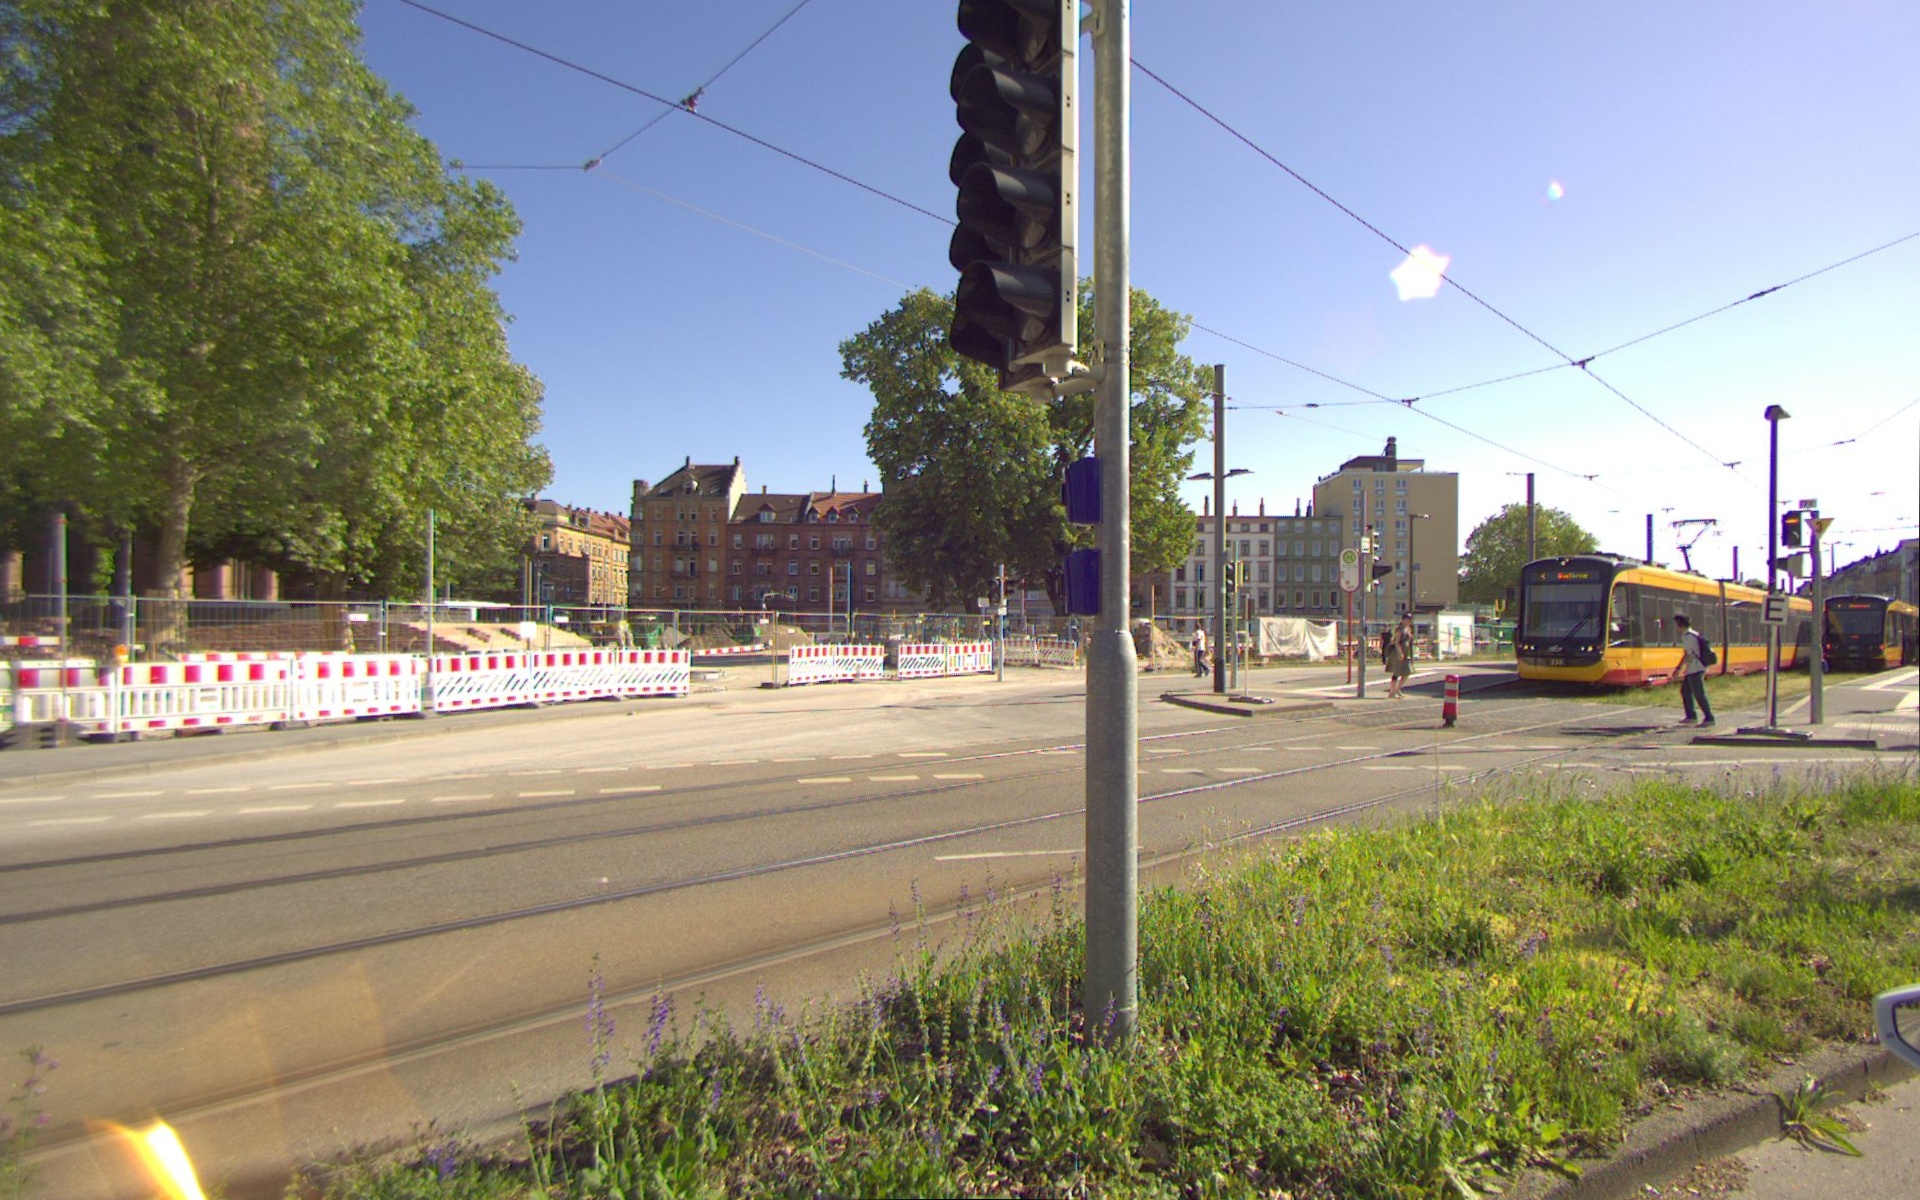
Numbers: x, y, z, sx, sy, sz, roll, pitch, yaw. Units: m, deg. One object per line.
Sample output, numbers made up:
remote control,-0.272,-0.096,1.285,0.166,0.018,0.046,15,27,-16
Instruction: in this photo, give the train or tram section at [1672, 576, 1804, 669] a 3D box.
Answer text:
train or tram section,33.491,0.994,42.997,11.132,3.554,2.790,2,-1,-43

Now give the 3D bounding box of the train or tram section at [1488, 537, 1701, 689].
train or tram section,18.068,0.463,28.156,10.411,3.554,2.789,2,-2,-45

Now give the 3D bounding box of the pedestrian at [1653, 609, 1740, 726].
pedestrian,12.177,1.115,16.613,0.756,1.856,1.006,3,-4,-45

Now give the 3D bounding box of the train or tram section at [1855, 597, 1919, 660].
train or tram section,57.357,1.743,61.672,10.472,3.554,2.843,2,-1,-44

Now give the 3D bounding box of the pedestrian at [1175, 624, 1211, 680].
pedestrian,7.625,1.684,32.849,0.955,1.791,0.864,0,-2,26

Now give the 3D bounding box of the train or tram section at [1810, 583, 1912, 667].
train or tram section,42.341,1.199,47.052,10.472,3.554,2.843,2,-2,-44

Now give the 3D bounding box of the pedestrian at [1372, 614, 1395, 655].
pedestrian,18.704,1.517,44.371,0.795,1.791,0.661,2,-2,-45

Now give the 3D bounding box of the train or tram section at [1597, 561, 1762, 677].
train or tram section,25.656,0.706,35.508,10.537,3.554,2.790,2,-1,-43

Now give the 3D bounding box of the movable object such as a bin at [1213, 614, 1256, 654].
movable object such as a bin,20.653,2.523,75.702,1.798,2.833,3.997,2,-1,-5

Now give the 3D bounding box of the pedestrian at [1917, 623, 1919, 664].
pedestrian,45.193,2.050,46.809,0.756,1.908,0.838,3,-1,-45

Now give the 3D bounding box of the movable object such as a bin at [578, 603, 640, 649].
movable object such as a bin,-26.431,1.964,75.903,3.060,3.214,5.244,2,-1,-5

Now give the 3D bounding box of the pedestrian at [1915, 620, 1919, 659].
pedestrian,47.924,1.974,49.864,0.697,1.881,0.668,3,-1,-38

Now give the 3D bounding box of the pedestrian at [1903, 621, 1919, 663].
pedestrian,44.016,1.933,46.219,0.756,1.908,0.838,3,-1,-45

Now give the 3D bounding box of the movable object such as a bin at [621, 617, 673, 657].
movable object such as a bin,-20.068,2.337,64.546,1.857,2.377,4.230,2,-1,0

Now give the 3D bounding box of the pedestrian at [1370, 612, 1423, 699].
pedestrian,9.735,1.219,22.394,0.888,1.875,0.760,-1,1,39

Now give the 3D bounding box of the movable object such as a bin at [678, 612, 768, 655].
movable object such as a bin,-16.968,2.412,72.198,5.968,2.795,1.894,2,-1,-3

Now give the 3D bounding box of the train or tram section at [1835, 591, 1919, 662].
train or tram section,49.816,1.457,54.362,10.472,3.554,2.843,2,-2,-44

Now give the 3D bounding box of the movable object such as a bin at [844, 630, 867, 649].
movable object such as a bin,-10.036,3.800,96.847,1.716,1.702,3.802,0,-1,2
